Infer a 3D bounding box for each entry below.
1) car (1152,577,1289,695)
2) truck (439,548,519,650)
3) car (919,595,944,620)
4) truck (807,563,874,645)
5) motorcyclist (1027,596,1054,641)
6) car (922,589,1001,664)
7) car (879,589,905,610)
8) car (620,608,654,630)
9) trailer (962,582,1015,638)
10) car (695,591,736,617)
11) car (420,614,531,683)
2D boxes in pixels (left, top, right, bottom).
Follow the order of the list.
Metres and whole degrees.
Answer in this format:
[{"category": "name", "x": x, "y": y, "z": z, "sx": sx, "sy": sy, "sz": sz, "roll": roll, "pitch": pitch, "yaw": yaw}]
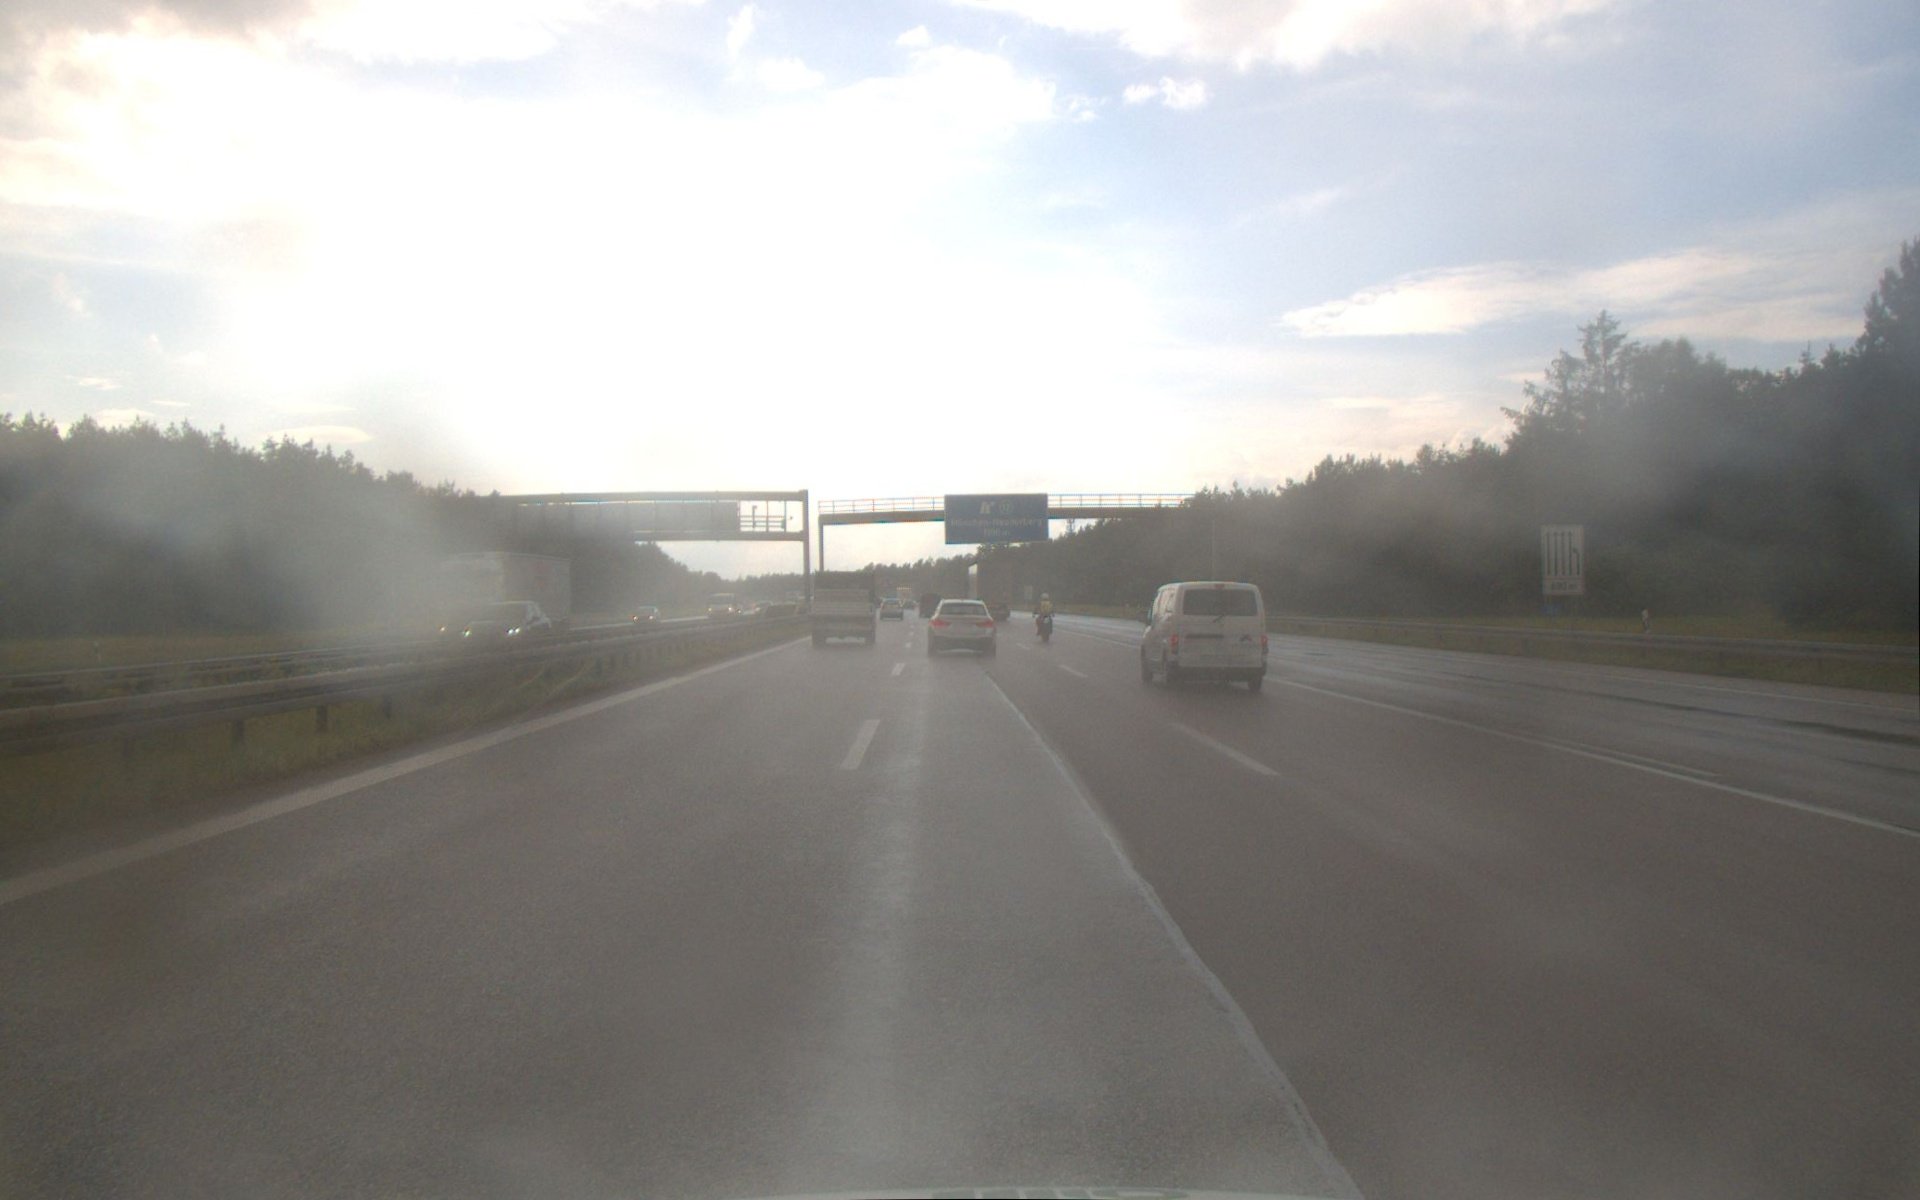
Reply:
[{"category": "car", "x": 4.604, "y": 0.594, "z": 29.845, "sx": 1.922, "sy": 1.935, "sz": 4.883, "roll": 0, "pitch": 0, "yaw": 3}, {"category": "truck", "x": -21.141, "y": -0.046, "z": 72.823, "sx": 2.096, "sy": 4.312, "sz": 4.706, "roll": 1, "pitch": 0, "yaw": -1}, {"category": "car", "x": -2.380, "y": 0.637, "z": 137.962, "sx": 1.870, "sy": 2.049, "sz": 3.997, "roll": 0, "pitch": 0, "yaw": -4}, {"category": "truck", "x": -3.916, "y": 0.128, "z": 54.250, "sx": 2.095, "sy": 2.533, "sz": 5.308, "roll": 0, "pitch": 0, "yaw": -4}, {"category": "motorcyclist", "x": 2.925, "y": 0.672, "z": 60.217, "sx": 0.873, "sy": 1.643, "sz": 0.958, "roll": 0, "pitch": 0, "yaw": -3}, {"category": "car", "x": 0.051, "y": 0.693, "z": 45.238, "sx": 2.035, "sy": 1.918, "sz": 5.011, "roll": 1, "pitch": 0, "yaw": 0}, {"category": "car", "x": -4.916, "y": -0.015, "z": 119.688, "sx": 1.794, "sy": 1.492, "sz": 3.998, "roll": 0, "pitch": 0, "yaw": -2}, {"category": "car", "x": -22.464, "y": 1.315, "z": 115.254, "sx": 1.639, "sy": 1.485, "sz": 4.559, "roll": -1, "pitch": 0, "yaw": -2}, {"category": "trailer", "x": 2.063, "y": 0.746, "z": 125.517, "sx": 2.279, "sy": 4.072, "sz": 13.392, "roll": 0, "pitch": 0, "yaw": -7}, {"category": "car", "x": -19.519, "y": 0.295, "z": 132.138, "sx": 2.236, "sy": 2.049, "sz": 6.738, "roll": 1, "pitch": 0, "yaw": 0}, {"category": "car", "x": -12.849, "y": 1.246, "z": 44.131, "sx": 1.822, "sy": 1.691, "sz": 4.470, "roll": 0, "pitch": 0, "yaw": -3}]
